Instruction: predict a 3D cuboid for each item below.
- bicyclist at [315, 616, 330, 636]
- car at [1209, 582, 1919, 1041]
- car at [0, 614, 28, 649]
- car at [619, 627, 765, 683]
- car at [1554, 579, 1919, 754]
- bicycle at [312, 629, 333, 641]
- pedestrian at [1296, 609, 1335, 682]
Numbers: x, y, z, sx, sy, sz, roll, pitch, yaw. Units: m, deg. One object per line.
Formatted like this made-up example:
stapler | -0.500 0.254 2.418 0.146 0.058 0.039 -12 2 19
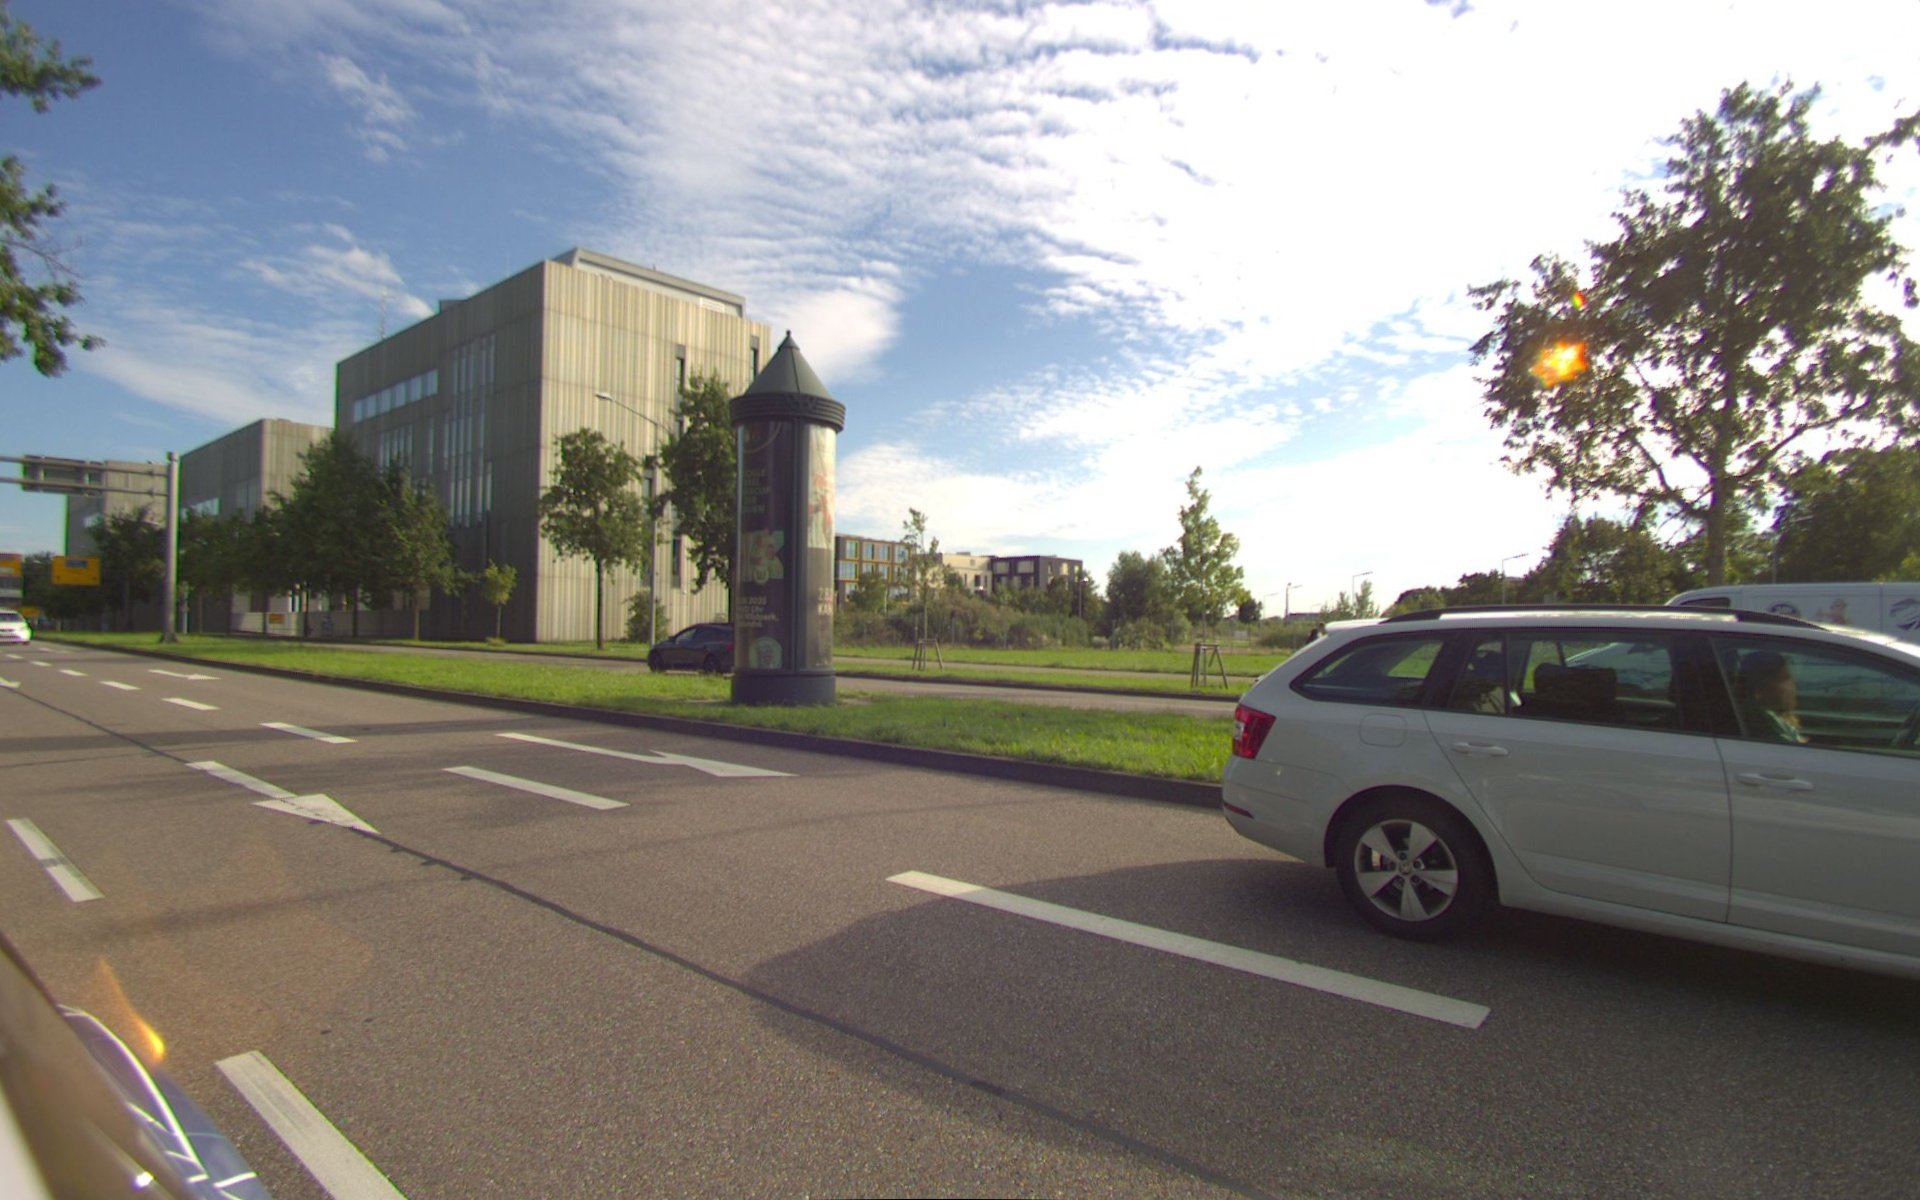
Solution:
bicyclist | -51.585 2.100 81.879 0.989 1.537 0.698 -1 -3 41
car | 3.469 0.707 4.186 4.479 1.510 1.681 -1 -1 41
car | -41.207 1.328 43.265 4.001 1.475 1.722 -1 -1 44
car | -7.553 1.508 28.339 4.205 1.420 1.881 -1 -4 41
car | 12.097 0.923 14.529 5.920 2.252 1.973 -1 -4 40
bicycle | -51.582 2.810 81.891 1.910 0.989 0.885 -1 -3 41
pedestrian | 10.101 1.291 28.767 0.867 2.029 0.667 -1 -3 41
